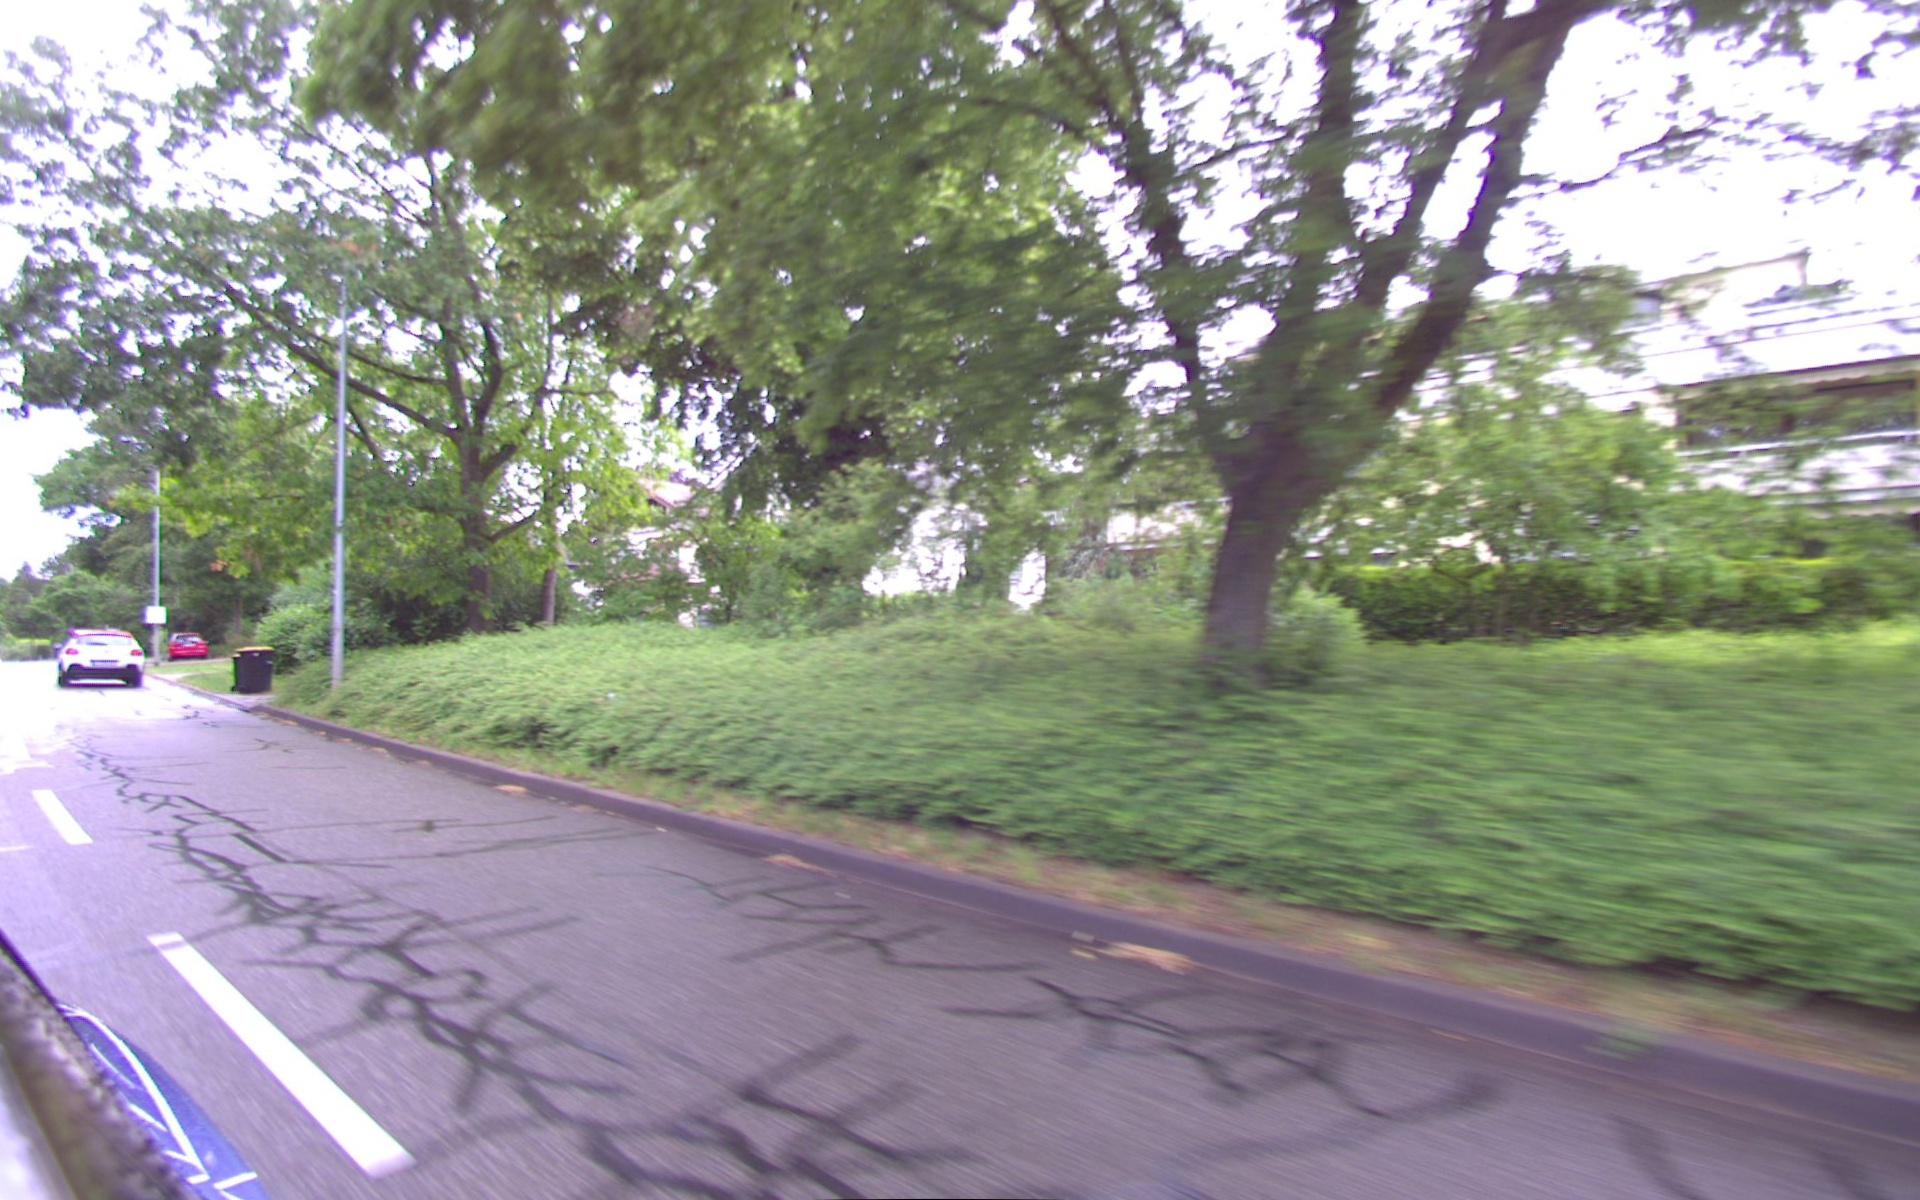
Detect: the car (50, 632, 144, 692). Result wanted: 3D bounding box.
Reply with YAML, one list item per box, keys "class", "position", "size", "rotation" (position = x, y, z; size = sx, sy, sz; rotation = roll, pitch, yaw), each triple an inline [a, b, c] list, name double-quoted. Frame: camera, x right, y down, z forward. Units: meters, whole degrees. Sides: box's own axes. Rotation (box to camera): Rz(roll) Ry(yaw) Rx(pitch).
- class: "car"
  position: [-23.220, 1.648, 27.186]
  size: [1.646, 1.488, 3.735]
  rotation: [5, -5, -43]

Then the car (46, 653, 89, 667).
- class: "car"
  position: [-111.040, 7.468, 125.933]
  size: [1.816, 1.599, 3.813]
  rotation: [-4, -3, 39]

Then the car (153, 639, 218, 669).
- class: "car"
  position: [-43.272, 2.998, 56.501]
  size: [3.995, 1.527, 1.974]
  rotation: [-1, -1, 38]

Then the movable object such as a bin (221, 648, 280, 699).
- class: "movable object such as a bin"
  position: [-16.649, 1.708, 23.737]
  size: [1.025, 1.113, 0.967]
  rotation: [0, -2, -41]

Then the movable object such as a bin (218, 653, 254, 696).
- class: "movable object such as a bin"
  position: [-17.309, 1.774, 24.198]
  size: [0.640, 0.987, 0.578]
  rotation: [2, -3, -41]
